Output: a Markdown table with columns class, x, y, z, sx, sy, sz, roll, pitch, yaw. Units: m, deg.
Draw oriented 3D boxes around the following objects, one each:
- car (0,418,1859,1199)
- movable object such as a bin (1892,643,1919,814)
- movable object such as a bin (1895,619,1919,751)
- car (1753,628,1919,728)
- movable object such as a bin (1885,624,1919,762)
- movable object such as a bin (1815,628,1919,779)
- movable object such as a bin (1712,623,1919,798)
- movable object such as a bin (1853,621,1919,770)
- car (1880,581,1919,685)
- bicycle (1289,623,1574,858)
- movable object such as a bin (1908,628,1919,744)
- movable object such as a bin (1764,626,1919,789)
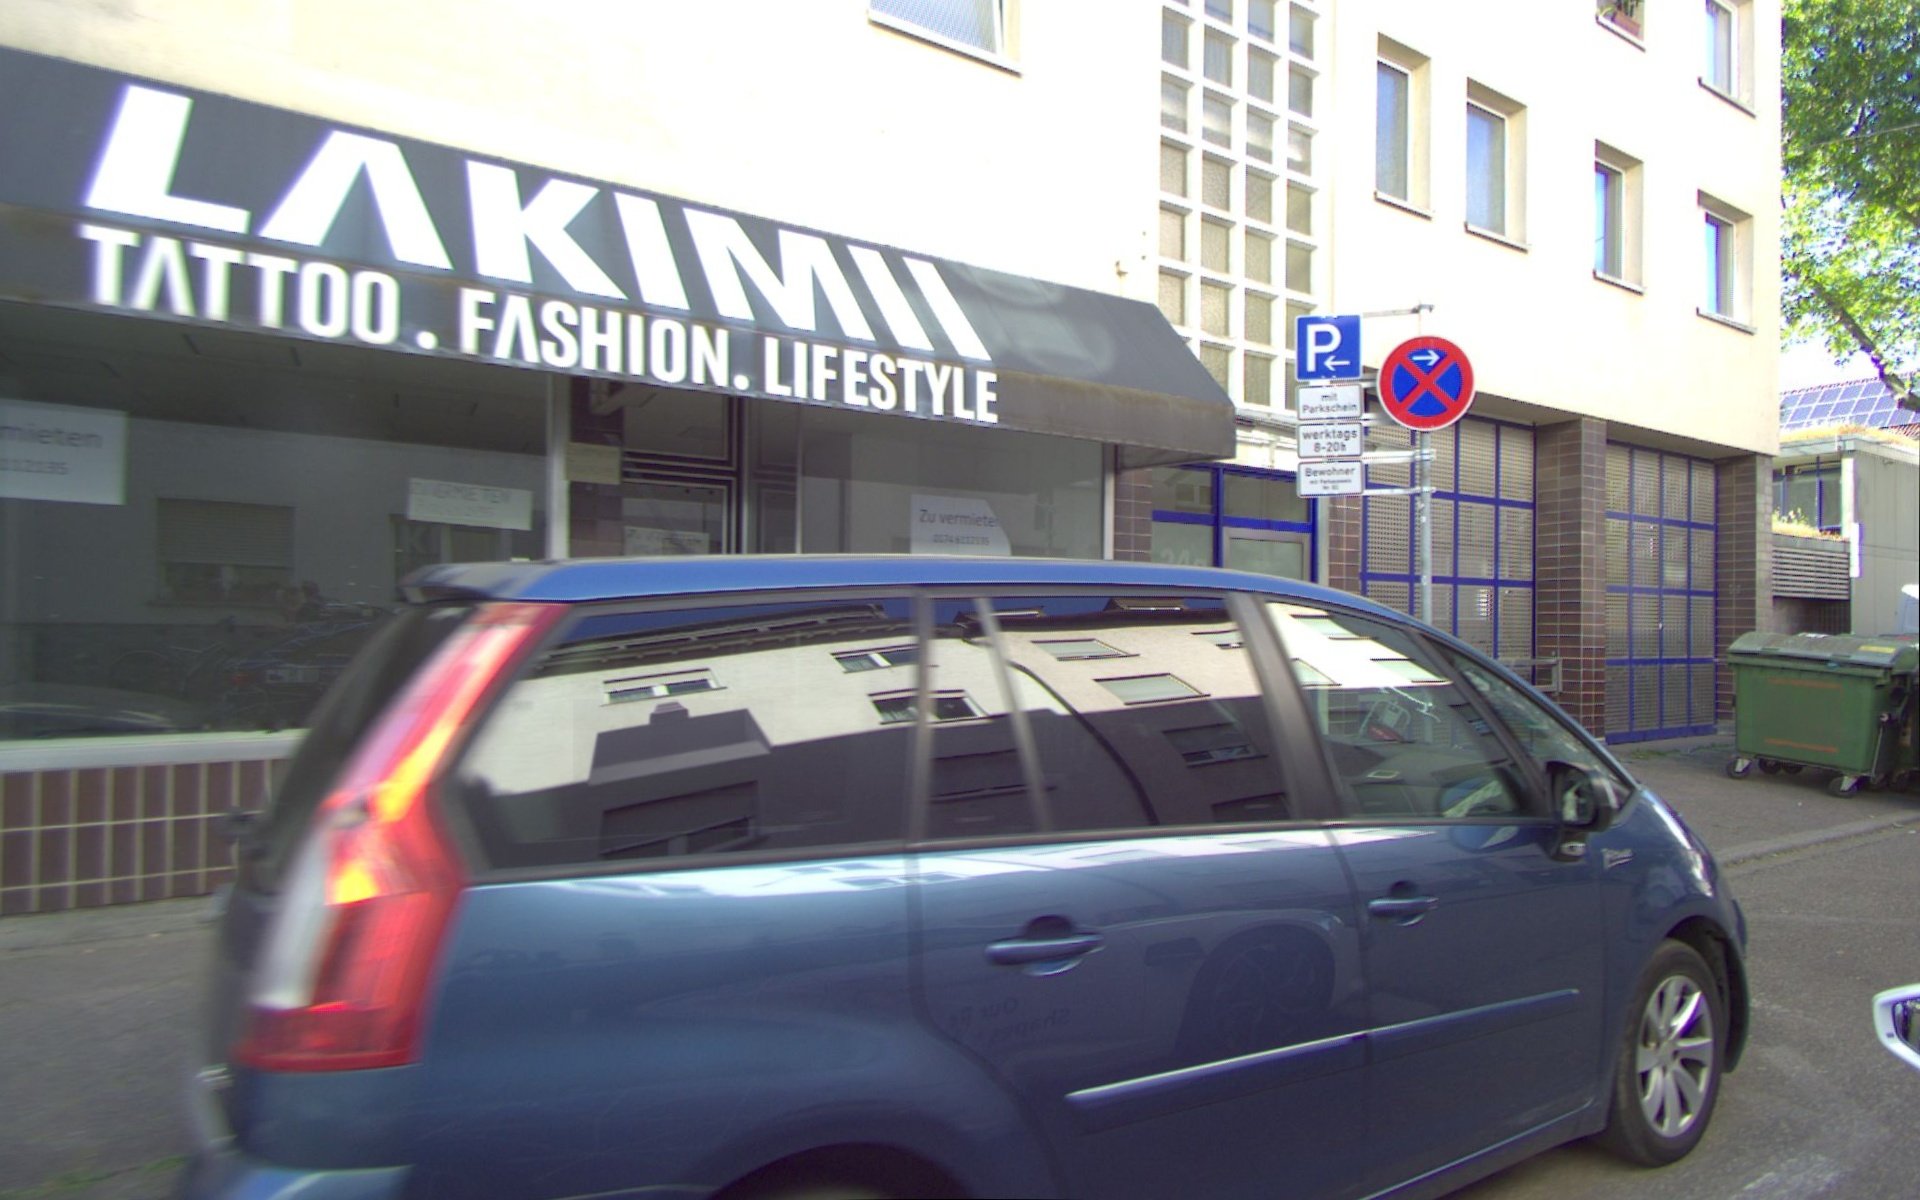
| class | x | y | z | sx | sy | sz | roll | pitch | yaw |
| --- | --- | --- | --- | --- | --- | --- | --- | --- | --- |
| car | 0.580 | 0.748 | 2.952 | 4.616 | 1.688 | 1.774 | 2 | -3 | -31 |
| movable object such as a bin | 9.029 | 1.113 | 8.549 | 1.173 | 1.469 | 1.313 | 2 | -3 | -31 |
| movable object such as a bin | 12.929 | 1.103 | 12.842 | 1.163 | 1.675 | 1.219 | 2 | -1 | -36 |
| car | 15.919 | 1.303 | 16.749 | 1.806 | 1.524 | 3.855 | 2 | -1 | -31 |
| movable object such as a bin | 12.015 | 1.129 | 11.910 | 1.069 | 1.625 | 1.282 | 2 | -1 | -31 |
| movable object such as a bin | 10.263 | 1.097 | 10.860 | 1.006 | 1.542 | 1.295 | 2 | -1 | -30 |
| movable object such as a bin | 8.345 | 1.014 | 9.767 | 1.165 | 1.518 | 1.290 | 2 | -1 | -31 |
| movable object such as a bin | 11.124 | 1.082 | 11.351 | 1.006 | 1.642 | 1.288 | 2 | -1 | -30 |
| car | 26.320 | 0.985 | 23.454 | 2.119 | 2.589 | 6.710 | 2 | 1 | -28 |
| bicycle | 3.049 | 0.886 | 6.458 | 1.828 | 1.349 | 0.464 | 4 | 2 | -23 |
| movable object such as a bin | 13.838 | 1.198 | 13.554 | 1.110 | 1.570 | 1.343 | 2 | -1 | -36 |
| movable object such as a bin | 9.328 | 1.055 | 10.352 | 1.144 | 1.518 | 1.299 | 2 | -1 | -31 |
